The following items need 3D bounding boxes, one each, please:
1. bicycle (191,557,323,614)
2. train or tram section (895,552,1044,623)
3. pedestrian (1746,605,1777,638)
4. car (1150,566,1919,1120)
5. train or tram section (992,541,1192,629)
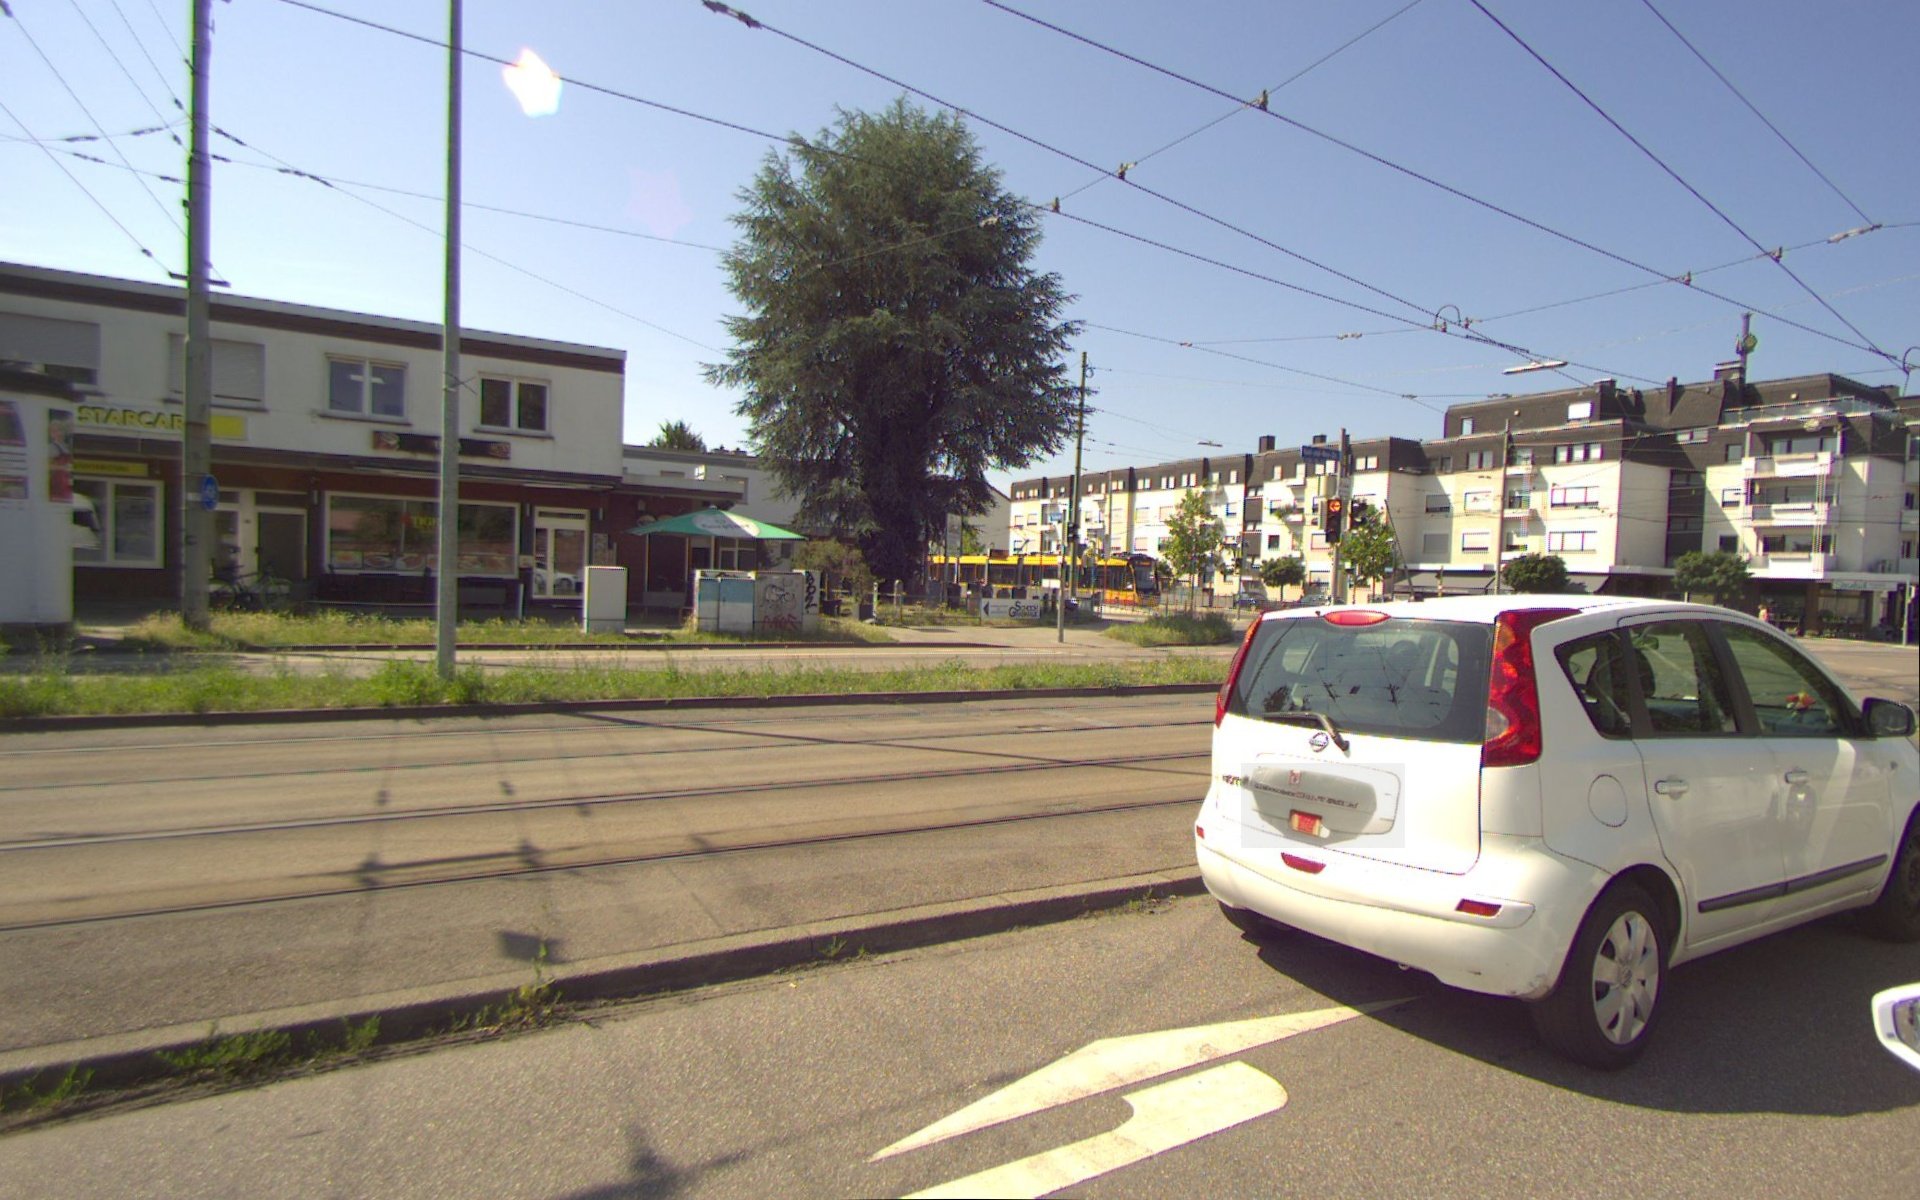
[{"bbox_3d":[-15.519,-0.295,22.268,2.306,1.167,0.783,2,-1,-30],"label":"bicycle"},{"bbox_3d":[0.371,-0.933,83.286,4.681,5.217,16.121,2,-1,-30],"label":"train or tram section"},{"bbox_3d":[44.276,1.188,55.508,0.956,1.766,0.864,2,-1,-3],"label":"pedestrian"},{"bbox_3d":[2.839,0.705,4.546,3.759,1.587,1.634,0,0,-31],"label":"car"},{"bbox_3d":[8.527,-0.898,69.385,4.681,5.217,16.121,2,-1,-30],"label":"train or tram section"}]
